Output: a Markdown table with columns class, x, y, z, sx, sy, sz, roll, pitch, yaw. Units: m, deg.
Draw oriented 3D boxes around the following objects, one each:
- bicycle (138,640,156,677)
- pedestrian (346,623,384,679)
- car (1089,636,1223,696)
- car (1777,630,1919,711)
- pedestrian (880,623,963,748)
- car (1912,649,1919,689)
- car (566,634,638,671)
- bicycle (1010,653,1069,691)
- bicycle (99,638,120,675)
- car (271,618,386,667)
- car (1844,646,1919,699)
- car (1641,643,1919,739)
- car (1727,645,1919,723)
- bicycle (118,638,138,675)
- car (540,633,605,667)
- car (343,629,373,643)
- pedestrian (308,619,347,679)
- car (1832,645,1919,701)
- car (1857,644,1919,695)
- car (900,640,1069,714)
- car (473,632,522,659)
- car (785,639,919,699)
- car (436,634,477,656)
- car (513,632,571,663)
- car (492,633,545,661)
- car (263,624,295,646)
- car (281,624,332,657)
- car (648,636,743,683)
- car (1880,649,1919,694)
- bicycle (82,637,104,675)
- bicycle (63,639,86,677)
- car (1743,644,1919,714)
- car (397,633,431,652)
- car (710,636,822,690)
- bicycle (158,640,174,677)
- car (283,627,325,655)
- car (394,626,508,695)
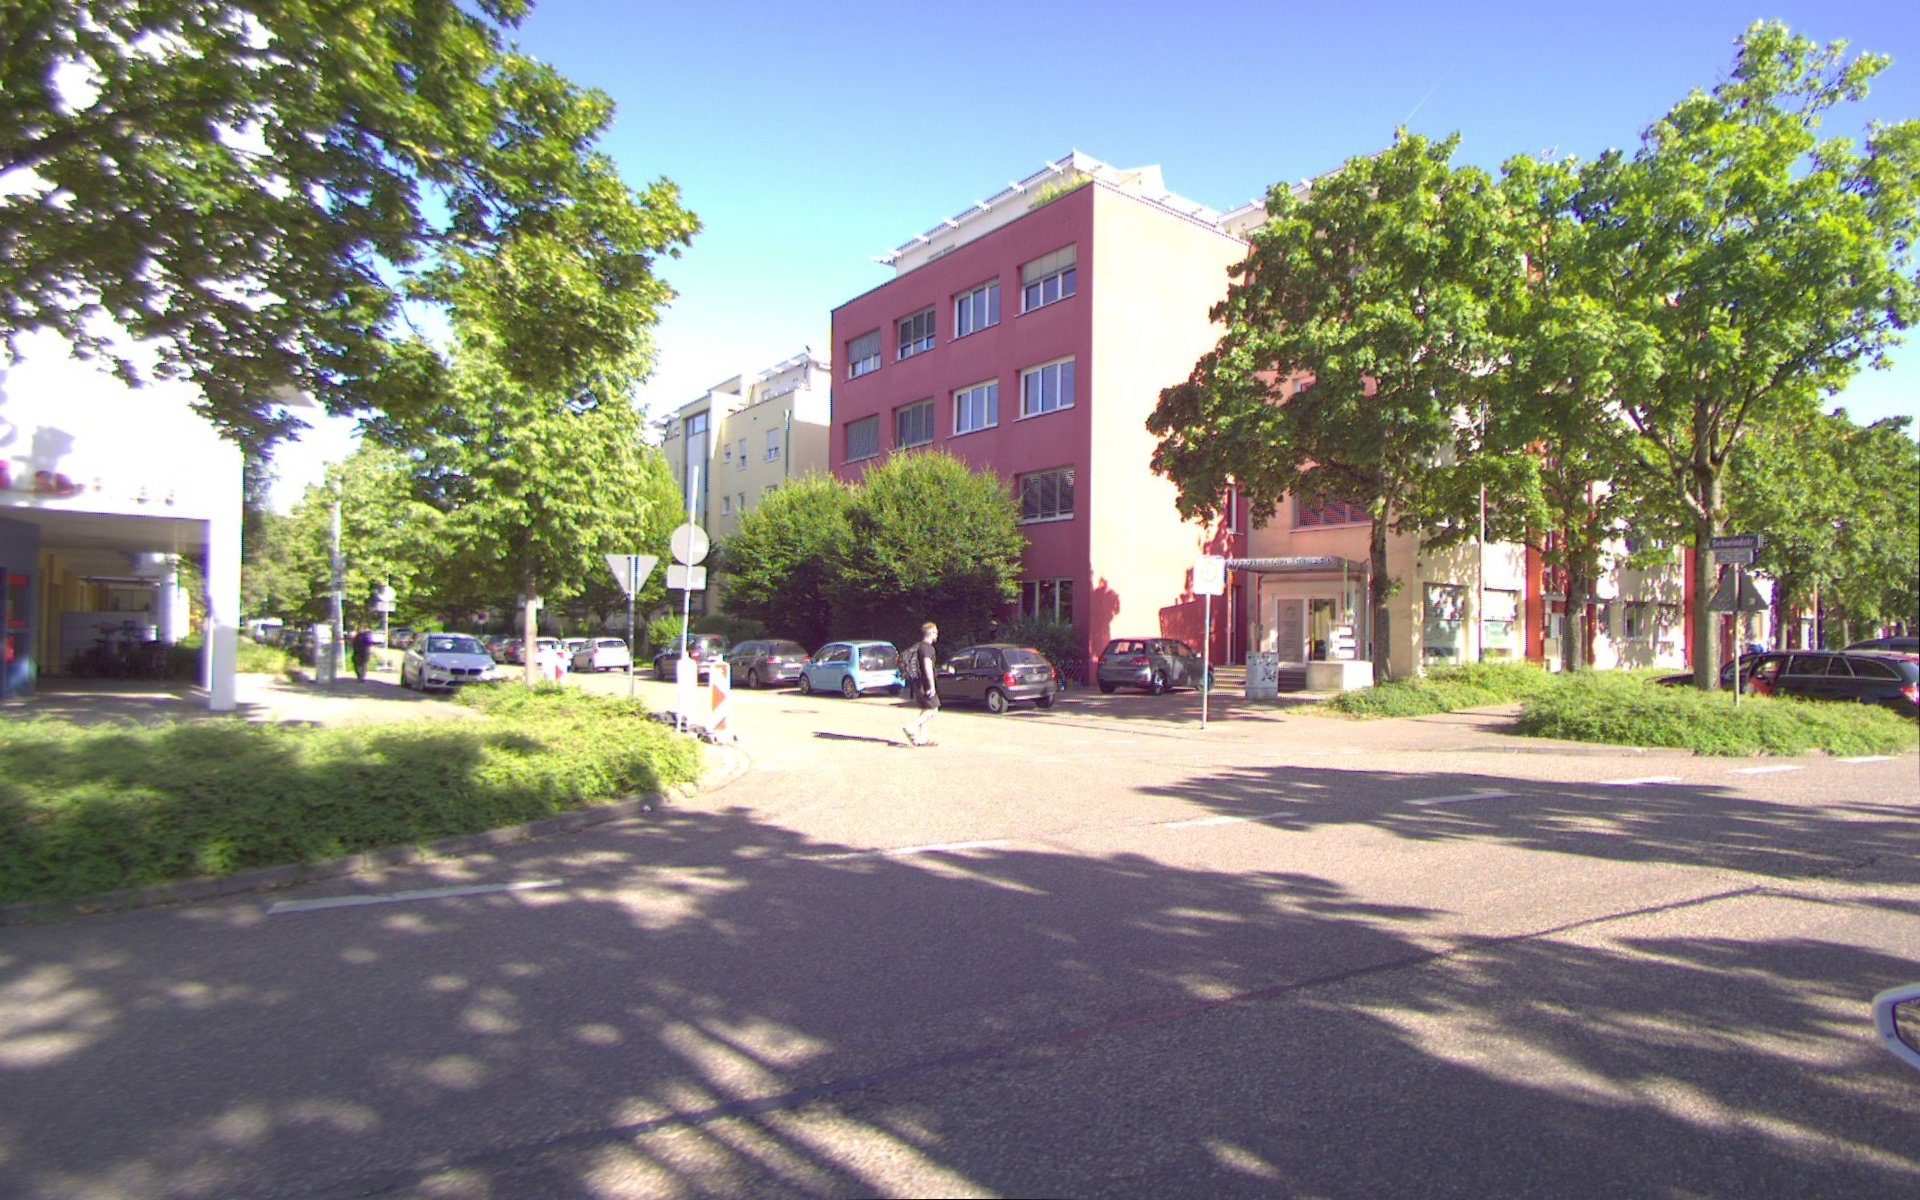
| class | x | y | z | sx | sy | sz | roll | pitch | yaw |
| --- | --- | --- | --- | --- | --- | --- | --- | --- | --- |
| bicycle | -20.259 | 1.449 | 25.036 | 0.285 | 0.883 | 1.784 | 3 | -3 | -38 |
| pedestrian | -16.443 | 1.398 | 27.737 | 0.835 | 1.508 | 0.678 | -1 | -3 | 45 |
| car | 5.307 | 1.721 | 26.896 | 1.714 | 1.462 | 4.111 | -2 | -3 | 41 |
| car | 23.183 | 1.756 | 25.178 | 1.769 | 1.835 | 3.864 | 2 | -1 | -37 |
| pedestrian | -0.555 | 1.226 | 14.602 | 1.011 | 1.748 | 0.653 | 2 | -4 | -34 |
| car | 37.011 | 2.571 | 35.737 | 1.757 | 1.446 | 4.367 | 2 | -1 | -39 |
| car | -15.938 | 2.281 | 44.624 | 1.919 | 1.524 | 3.966 | -1 | -1 | -37 |
| bicycle | 2.208 | 1.973 | 27.877 | 1.647 | 0.999 | 0.449 | -1 | -3 | 37 |
| bicycle | -20.825 | 1.366 | 24.609 | 0.285 | 0.883 | 1.784 | 3 | -3 | -38 |
| car | -27.235 | 1.848 | 43.377 | 3.968 | 2.040 | 1.977 | 2 | -3 | -40 |
| car | 28.957 | 2.201 | 29.950 | 1.845 | 1.466 | 3.694 | 2 | -1 | -40 |
| car | 15.657 | 1.627 | 19.010 | 1.721 | 1.442 | 4.237 | 2 | -1 | -33 |
| car | 19.459 | 1.807 | 22.025 | 1.723 | 1.442 | 3.864 | 2 | -1 | -37 |
| bicycle | -20.533 | 1.390 | 24.795 | 0.285 | 0.883 | 1.784 | 3 | -3 | -38 |
| car | -18.780 | 2.373 | 48.624 | 1.919 | 1.524 | 3.966 | -1 | -1 | -37 |
| car | -63.536 | 3.809 | 105.983 | 1.984 | 1.449 | 4.589 | 3 | -3 | -40 |
| pedestrian | -16.619 | 1.283 | 26.390 | 0.713 | 1.534 | 0.789 | 2 | -1 | -39 |
| car | 27.219 | 2.101 | 28.370 | 1.861 | 1.466 | 3.694 | 2 | -1 | -40 |
| car | 30.886 | 2.241 | 31.620 | 1.843 | 1.528 | 3.698 | 2 | -1 | -38 |
| car | 0.468 | 1.680 | 22.918 | 1.787 | 1.466 | 3.953 | -1 | -1 | -37 |
| car | -28.062 | 2.720 | 60.867 | 1.919 | 1.524 | 3.878 | -1 | -1 | -37 |
| car | -3.056 | 1.838 | 27.745 | 1.919 | 1.469 | 3.966 | -1 | -1 | -37 |
| car | -36.211 | 3.229 | 72.241 | 1.919 | 1.524 | 3.878 | 2 | -3 | -37 |
| car | -22.211 | 2.478 | 53.351 | 1.919 | 1.524 | 3.878 | -1 | -1 | -37 |
| car | -25.044 | 2.636 | 56.951 | 1.919 | 1.524 | 3.878 | -1 | -1 | -37 |
| car | -59.506 | 3.039 | 87.717 | 1.831 | 1.829 | 3.952 | 2 | -3 | -41 |
| car | -36.842 | 2.278 | 56.564 | 1.831 | 1.829 | 3.952 | 2 | -3 | -41 |
| car | -9.528 | 2.069 | 36.008 | 1.919 | 1.524 | 3.966 | -1 | -1 | -37 |
| car | 32.817 | 2.403 | 32.898 | 1.824 | 1.446 | 3.698 | 2 | -1 | -38 |
| bicycle | -21.087 | 1.355 | 24.449 | 0.285 | 0.883 | 1.784 | 3 | -3 | -38 |
| bicycle | -21.375 | 1.396 | 24.259 | 0.285 | 0.883 | 1.784 | 3 | -3 | -38 |
| car | 21.477 | 1.866 | 24.162 | 1.723 | 1.442 | 3.864 | 2 | -1 | -37 |
| car | -45.772 | 3.582 | 84.228 | 1.919 | 1.524 | 3.878 | 2 | -3 | -37 |
| car | -6.176 | 1.929 | 31.710 | 1.919 | 1.524 | 3.966 | -1 | -1 | -37 |
| bicycle | -19.966 | 1.463 | 25.272 | 0.285 | 0.883 | 1.784 | 3 | -3 | -38 |
| car | -44.374 | 2.744 | 67.901 | 1.831 | 1.829 | 3.952 | 2 | -3 | -41 |
| car | -13.584 | 1.538 | 26.679 | 1.982 | 1.615 | 4.204 | 1 | -1 | -37 |
